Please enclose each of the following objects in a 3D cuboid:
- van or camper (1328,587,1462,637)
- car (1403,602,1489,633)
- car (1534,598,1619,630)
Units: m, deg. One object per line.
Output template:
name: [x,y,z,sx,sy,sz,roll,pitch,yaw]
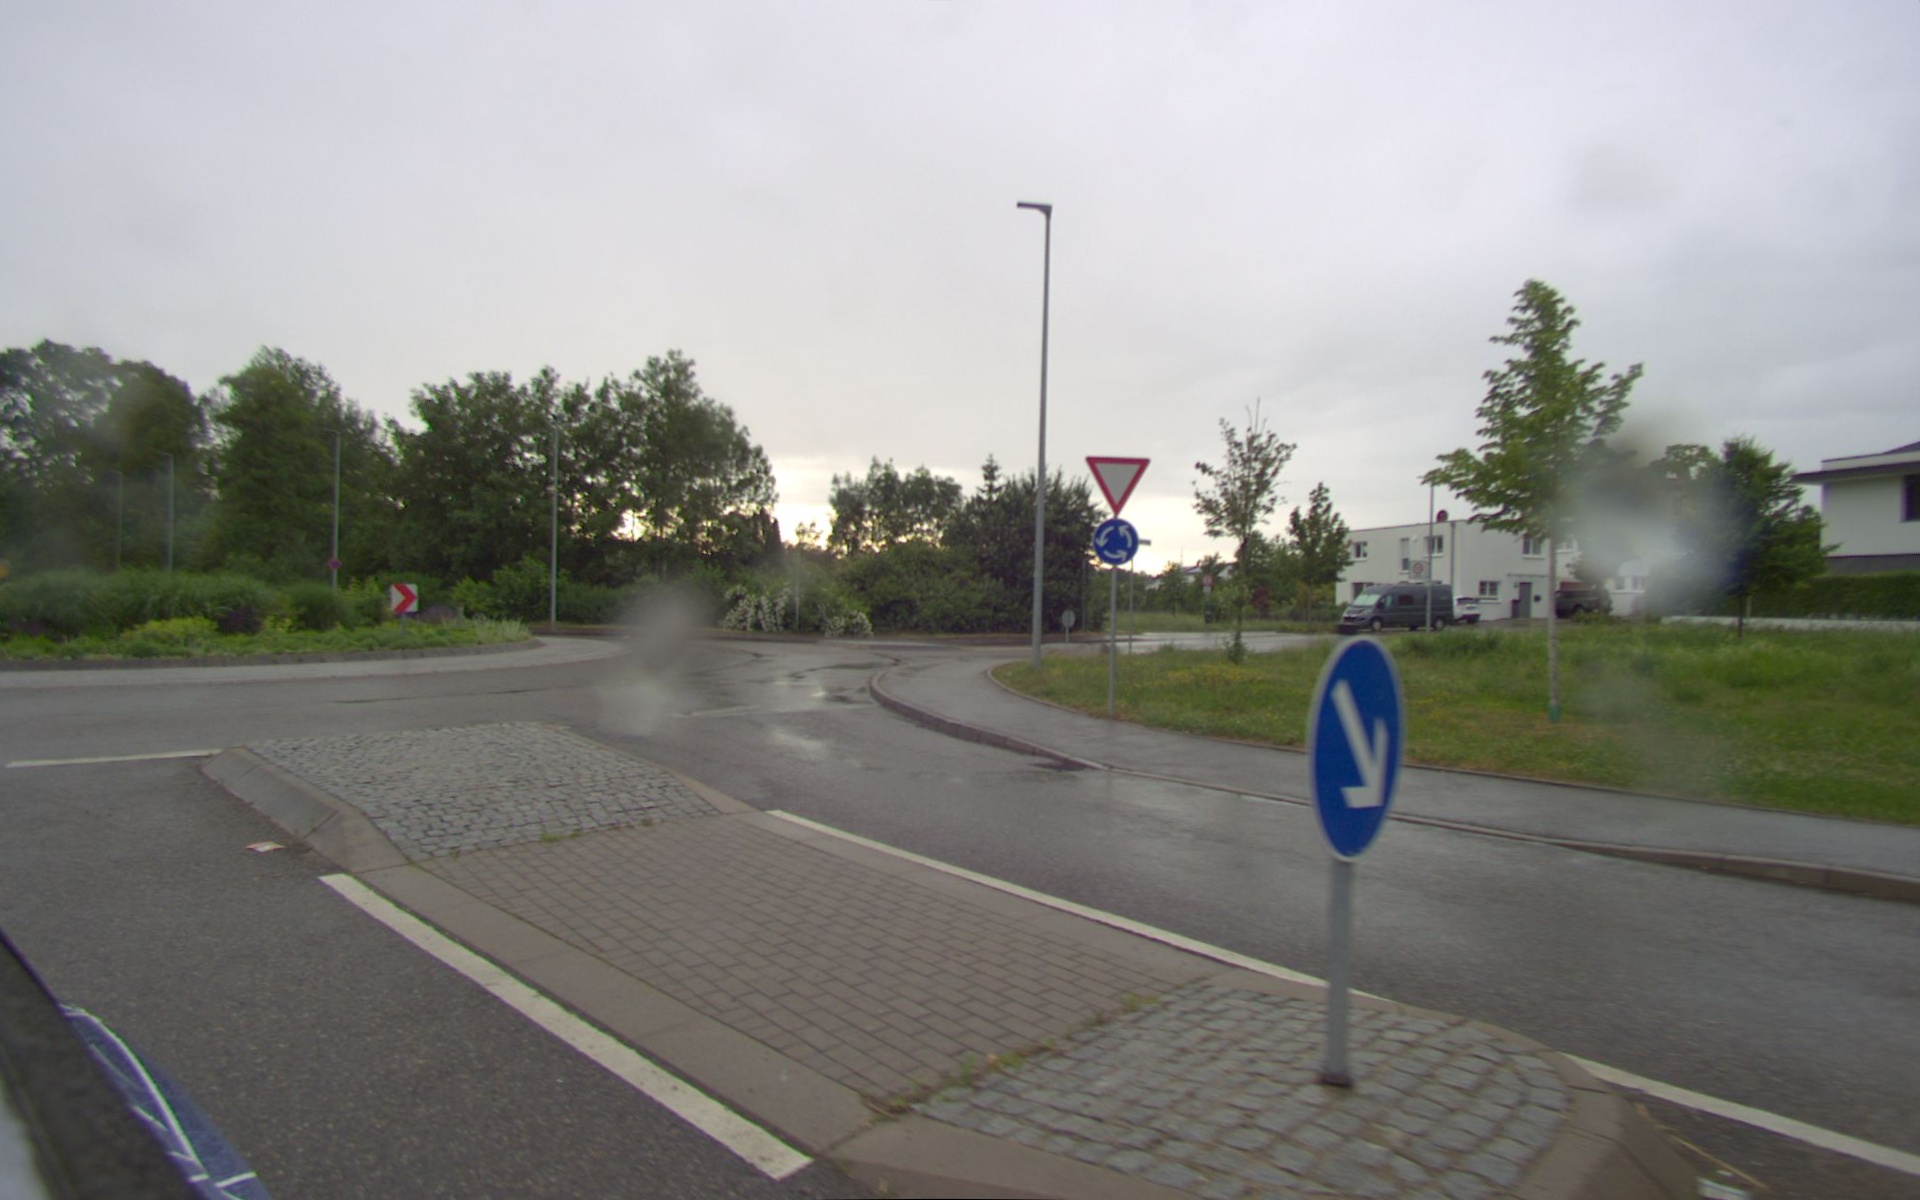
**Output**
van or camper: [22.746,0.606,52.992,6.104,2.512,2.538,0,0,-13]
car: [28.932,1.037,60.429,1.987,1.761,4.685,1,-1,-17]
car: [38.054,0.848,62.564,1.759,1.854,4.227,2,0,-23]
